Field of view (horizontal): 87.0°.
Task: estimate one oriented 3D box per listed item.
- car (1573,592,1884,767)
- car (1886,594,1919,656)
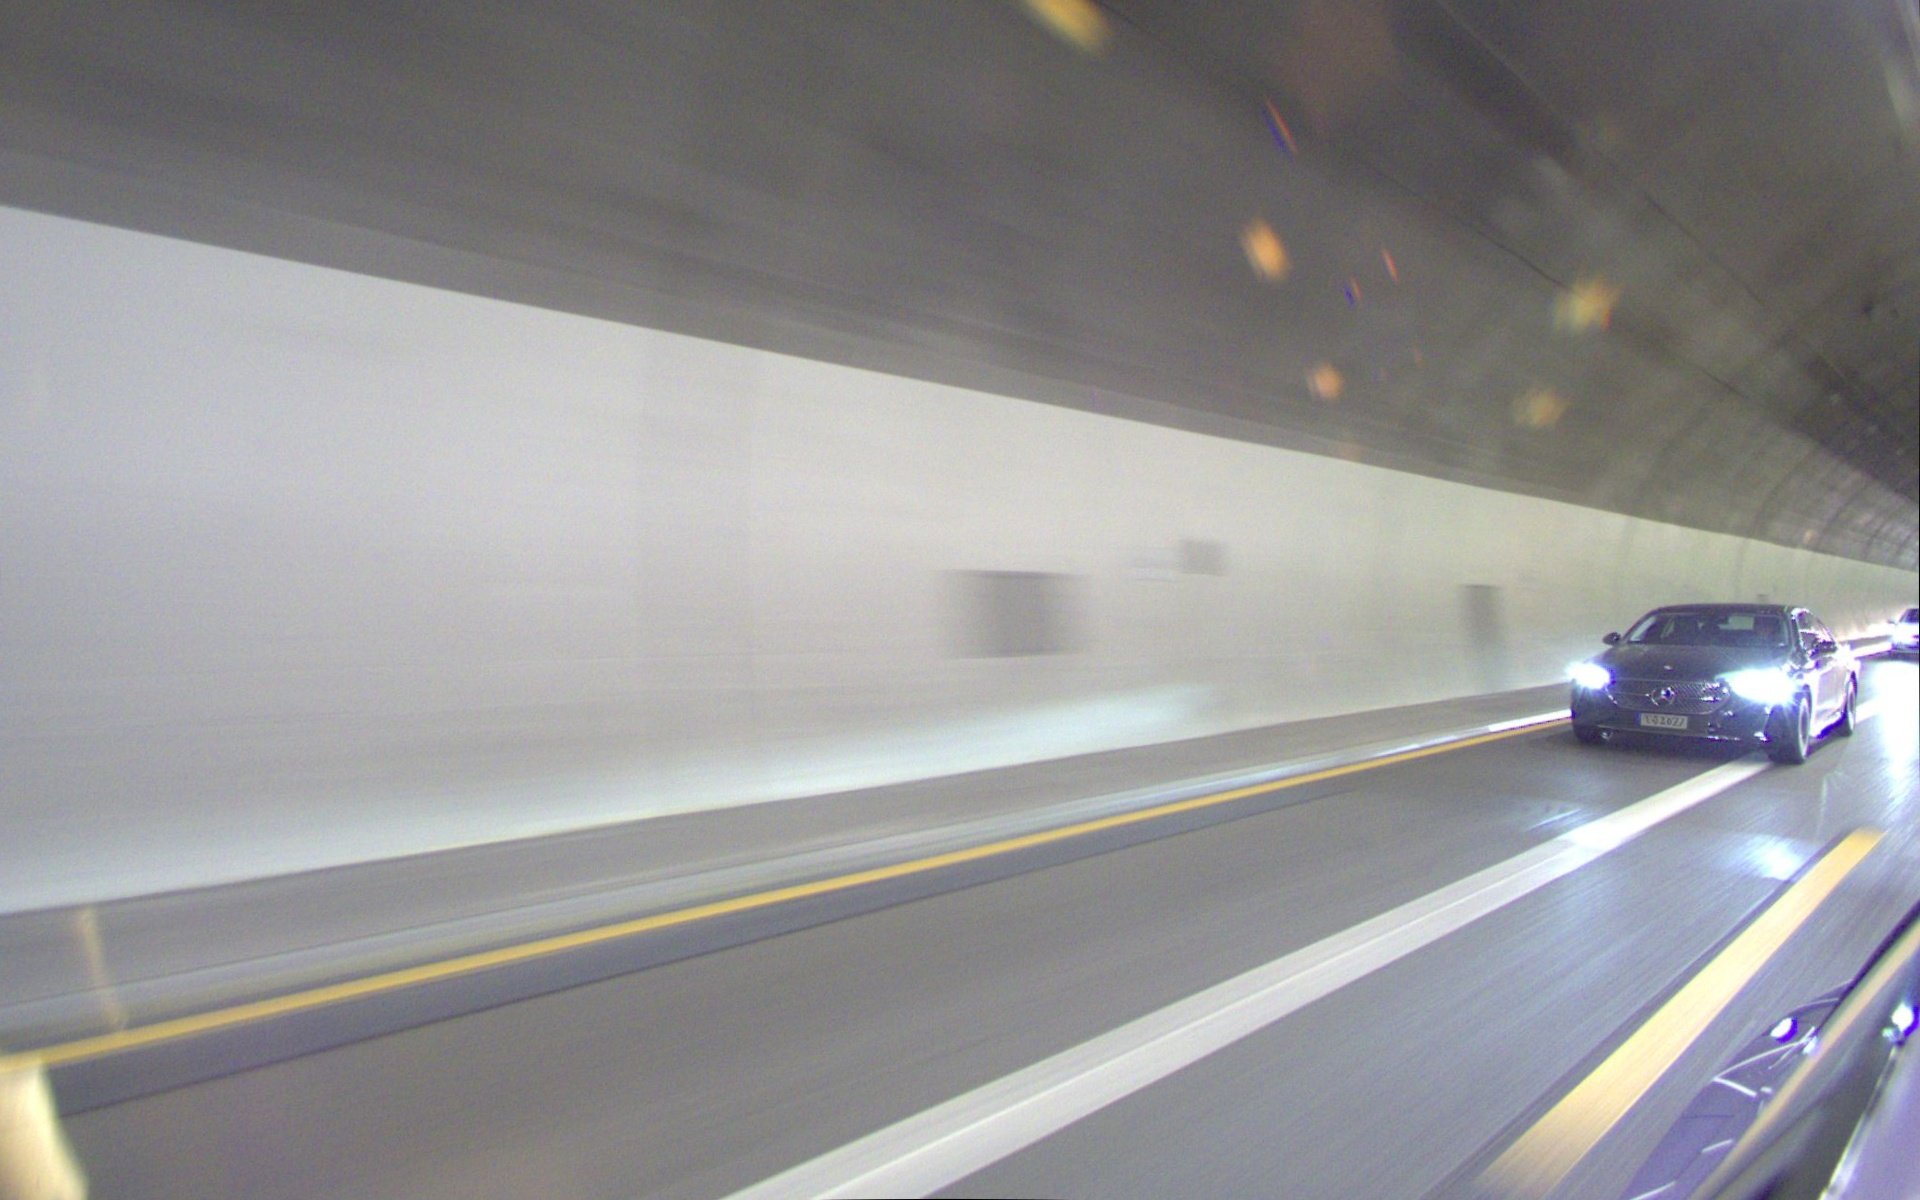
[{"bbox_3d":[8.352,0.675,10.840,4.443,1.496,1.824,0,0,-42],"label":"car"},{"bbox_3d":[26.478,0.635,27.096,4.660,1.560,1.996,-1,0,-42],"label":"car"}]
